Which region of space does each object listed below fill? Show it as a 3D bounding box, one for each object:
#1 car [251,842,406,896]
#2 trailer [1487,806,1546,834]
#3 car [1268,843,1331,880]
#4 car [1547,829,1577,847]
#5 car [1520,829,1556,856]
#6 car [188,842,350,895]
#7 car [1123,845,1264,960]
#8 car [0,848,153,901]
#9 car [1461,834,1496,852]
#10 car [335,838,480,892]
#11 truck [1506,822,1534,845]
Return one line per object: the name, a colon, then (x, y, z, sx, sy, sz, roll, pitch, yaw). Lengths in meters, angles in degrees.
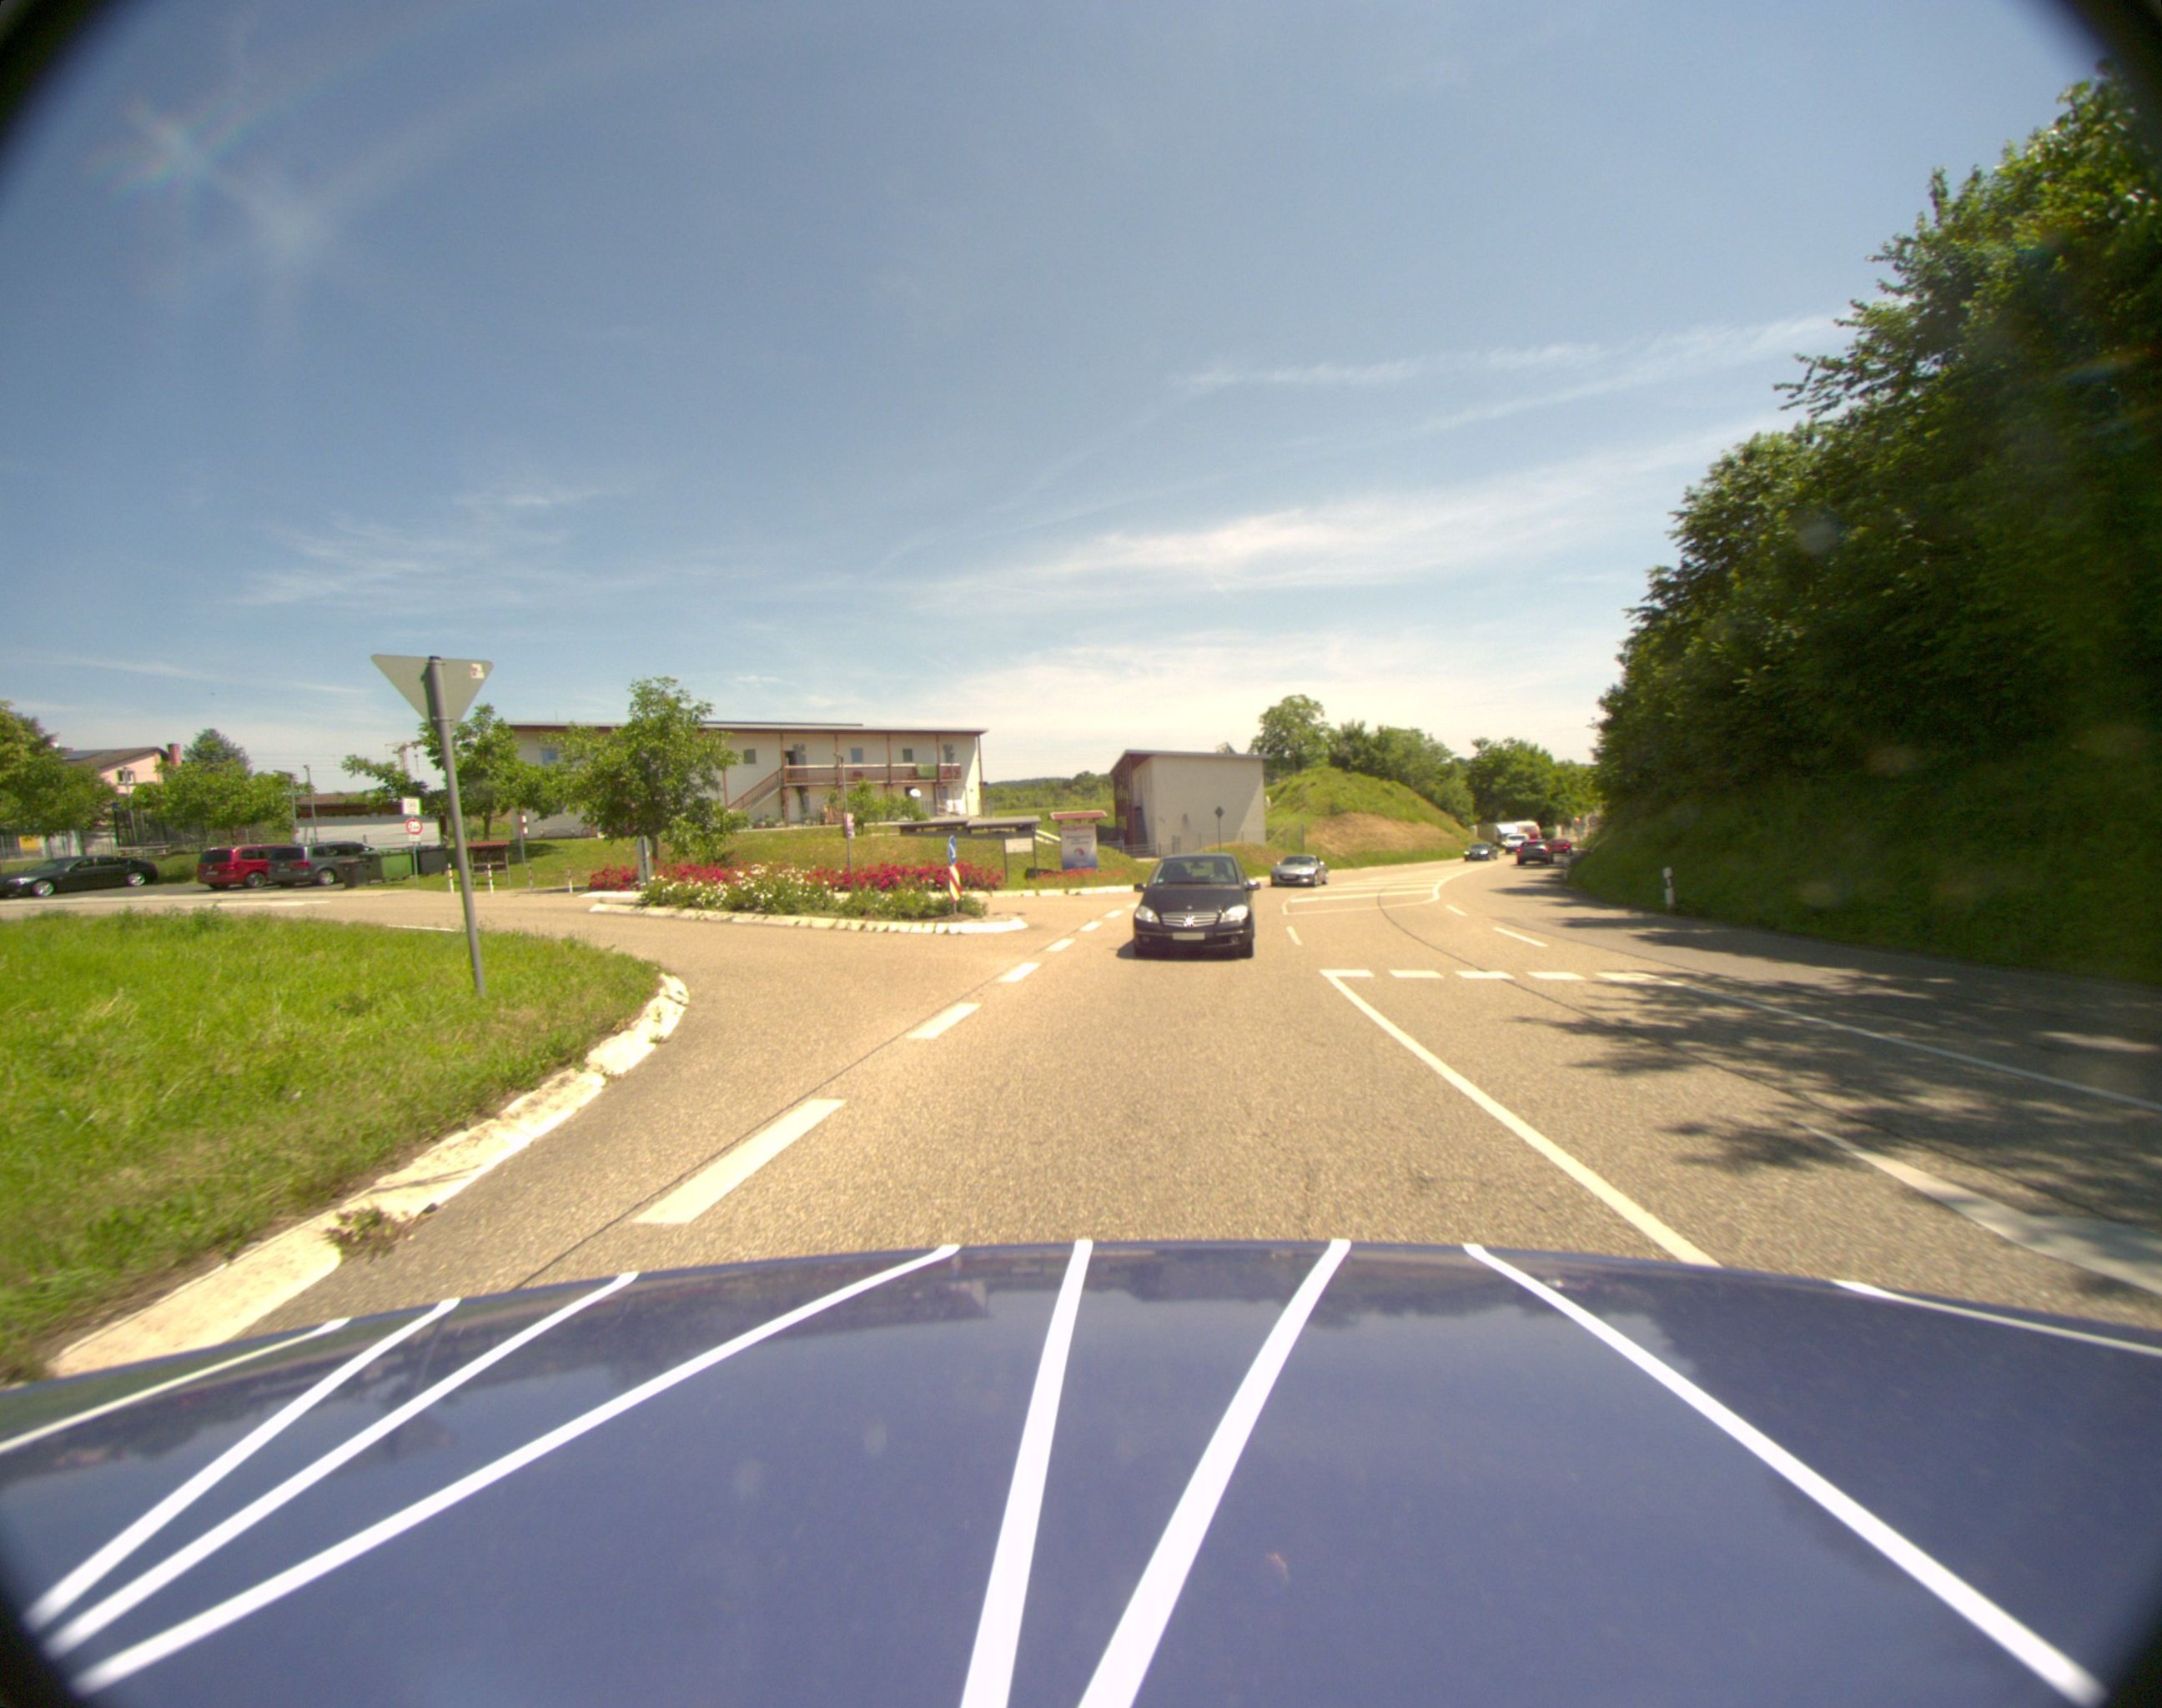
car: (-29.729, 0.532, 30.235, 1.869, 1.742, 3.999, -2, 4, 4)
trailer: (59.459, -4.564, 104.159, 2.638, 3.354, 11.145, -3, 1, 6)
car: (8.647, 0.268, 29.894, 1.644, 1.315, 3.444, 0, 2, 29)
car: (39.783, -1.367, 62.796, 1.750, 1.440, 4.008, 0, 2, 37)
car: (28.888, -0.759, 47.939, 1.792, 1.596, 4.187, 0, 2, 33)
car: (-32.278, 0.519, 30.397, 1.869, 1.742, 3.999, -2, 4, 4)
car: (1.988, 0.659, 12.381, 1.793, 1.570, 3.804, -1, 0, 16)
car: (-40.425, 0.771, 30.213, 1.869, 1.742, 3.999, -2, 4, 4)
car: (30.903, -0.868, 59.019, 1.751, 1.281, 4.153, 0, 2, 36)
car: (-26.568, 0.372, 30.167, 1.869, 1.742, 3.999, -2, 4, 4)
truck: (42.039, -1.980, 72.691, 2.067, 2.001, 5.254, -2, 1, 33)
